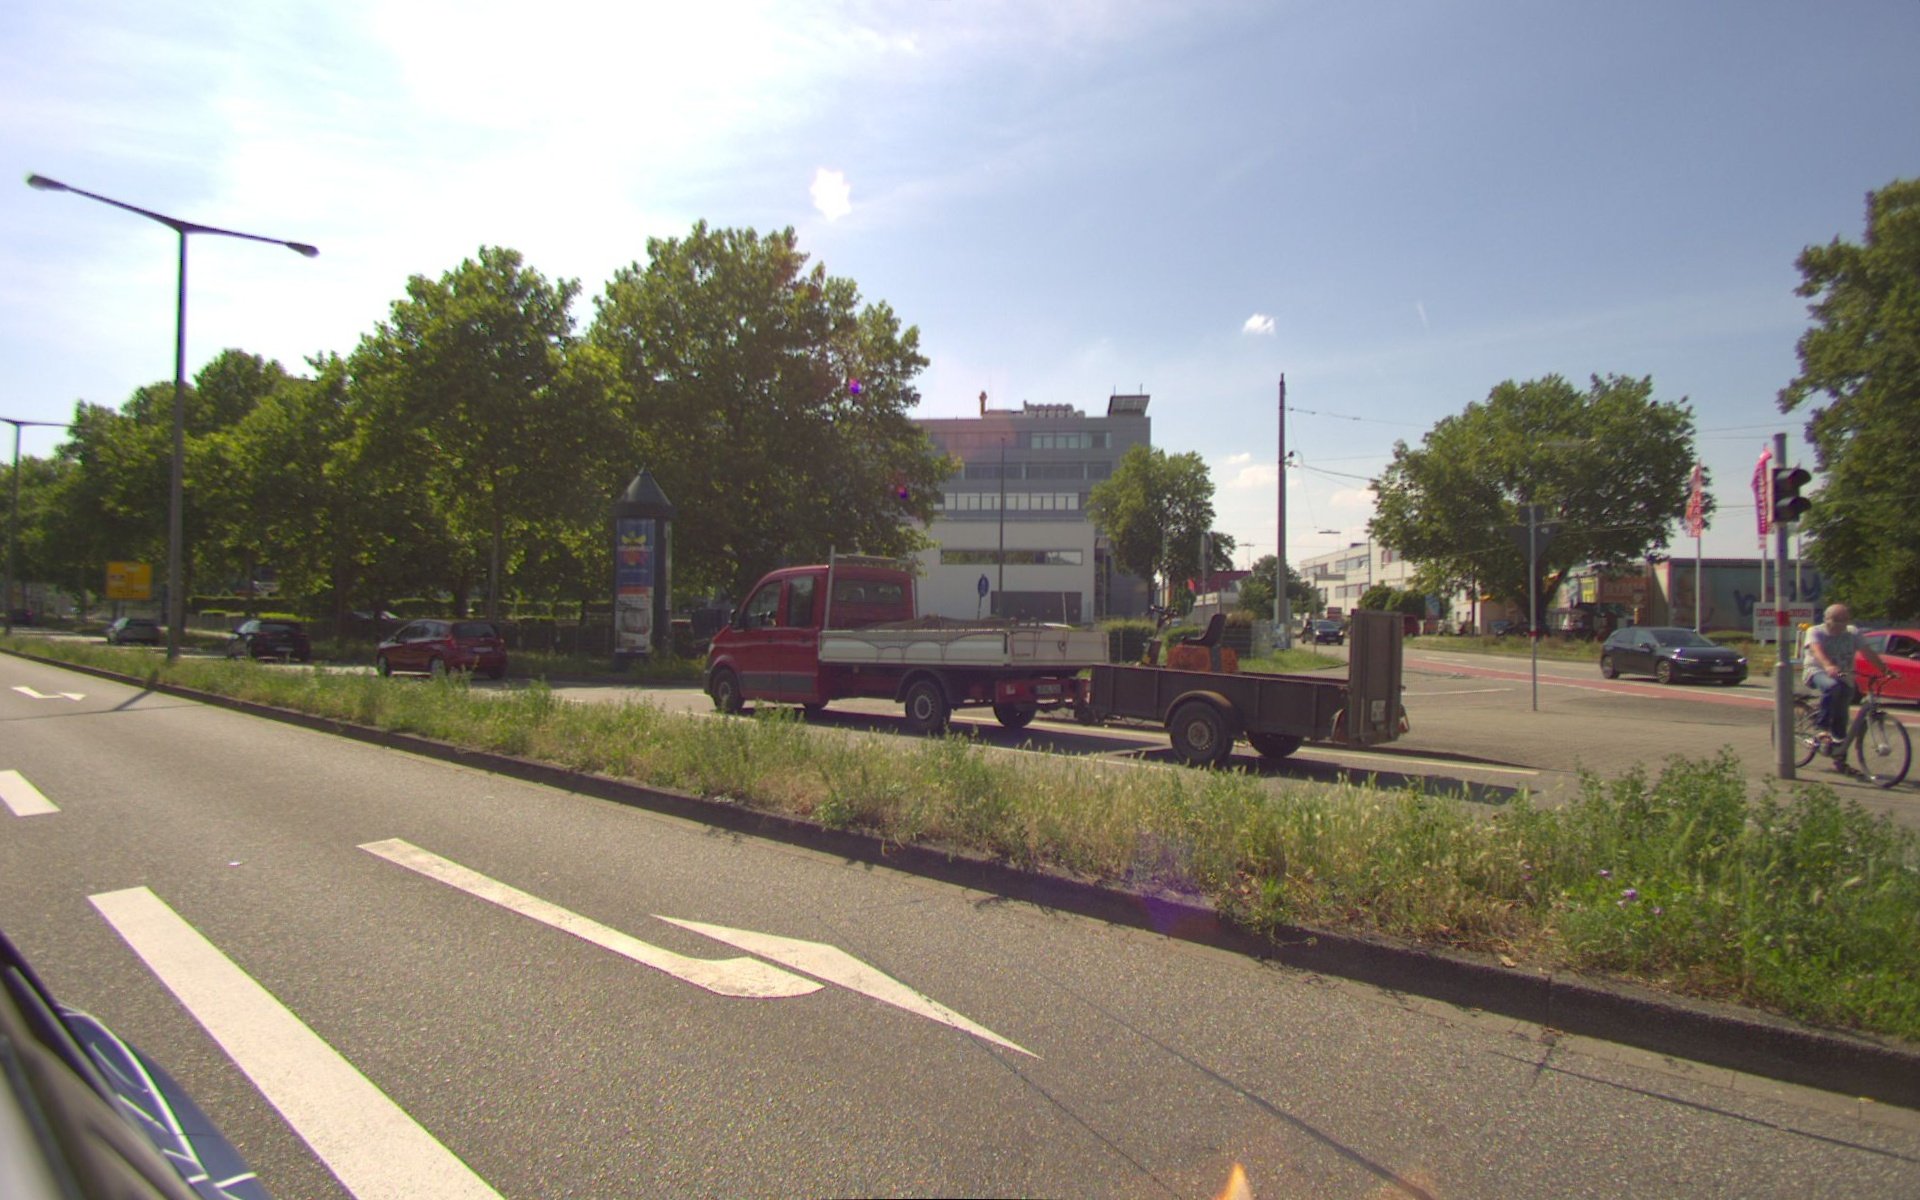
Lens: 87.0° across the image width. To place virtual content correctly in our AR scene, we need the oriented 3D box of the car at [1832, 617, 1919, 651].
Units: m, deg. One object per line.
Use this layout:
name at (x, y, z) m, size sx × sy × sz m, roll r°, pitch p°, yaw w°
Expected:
car at (63.760, 2.333, 69.845) m, size 4.981 × 2.295 × 2.147 m, roll 0°, pitch -2°, yaw 7°

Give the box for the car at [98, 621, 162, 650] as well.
car at (-43.687, 1.843, 53.248) m, size 4.219 × 1.433 × 1.820 m, roll -1°, pitch -4°, yaw 41°

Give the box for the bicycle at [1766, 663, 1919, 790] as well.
bicycle at (9.067, 1.215, 10.206) m, size 0.520 × 1.072 × 2.157 m, roll 0°, pitch -1°, yaw 11°

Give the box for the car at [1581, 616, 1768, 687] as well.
car at (18.633, 1.304, 26.650) m, size 1.971 × 1.712 × 4.001 m, roll 0°, pitch -2°, yaw -2°

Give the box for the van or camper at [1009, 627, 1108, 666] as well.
van or camper at (4.500, 2.126, 46.745) m, size 4.453 × 1.705 × 1.998 m, roll 0°, pitch -1°, yaw 4°

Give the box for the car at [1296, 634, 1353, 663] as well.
car at (22.226, 2.931, 61.865) m, size 1.972 × 1.712 × 4.000 m, roll 0°, pitch -2°, yaw -1°

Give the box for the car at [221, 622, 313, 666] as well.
car at (-24.288, 1.522, 35.441) m, size 3.895 × 1.433 × 1.819 m, roll 0°, pitch -3°, yaw 43°

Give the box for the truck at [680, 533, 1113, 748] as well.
truck at (-1.296, 0.534, 14.956) m, size 7.130 × 2.494 × 2.116 m, roll -1°, pitch -2°, yaw 44°

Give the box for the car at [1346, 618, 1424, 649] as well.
car at (32.086, 2.546, 76.489) m, size 4.967 × 2.295 × 2.153 m, roll 0°, pitch -2°, yaw -2°

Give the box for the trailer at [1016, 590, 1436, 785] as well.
trailer at (2.788, 0.828, 11.103) m, size 3.991 × 1.729 × 2.039 m, roll -1°, pitch -2°, yaw 43°

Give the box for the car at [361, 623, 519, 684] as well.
car at (-13.161, 1.337, 25.603) m, size 3.752 × 1.445 × 1.834 m, roll -2°, pitch -3°, yaw 31°

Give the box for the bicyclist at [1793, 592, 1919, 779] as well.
bicyclist at (9.072, 0.836, 10.222) m, size 0.698 × 1.802 × 0.765 m, roll 0°, pitch -2°, yaw 12°

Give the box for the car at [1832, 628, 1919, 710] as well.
car at (18.006, 1.224, 17.941) m, size 1.824 × 1.460 × 3.993 m, roll 0°, pitch -2°, yaw 5°
